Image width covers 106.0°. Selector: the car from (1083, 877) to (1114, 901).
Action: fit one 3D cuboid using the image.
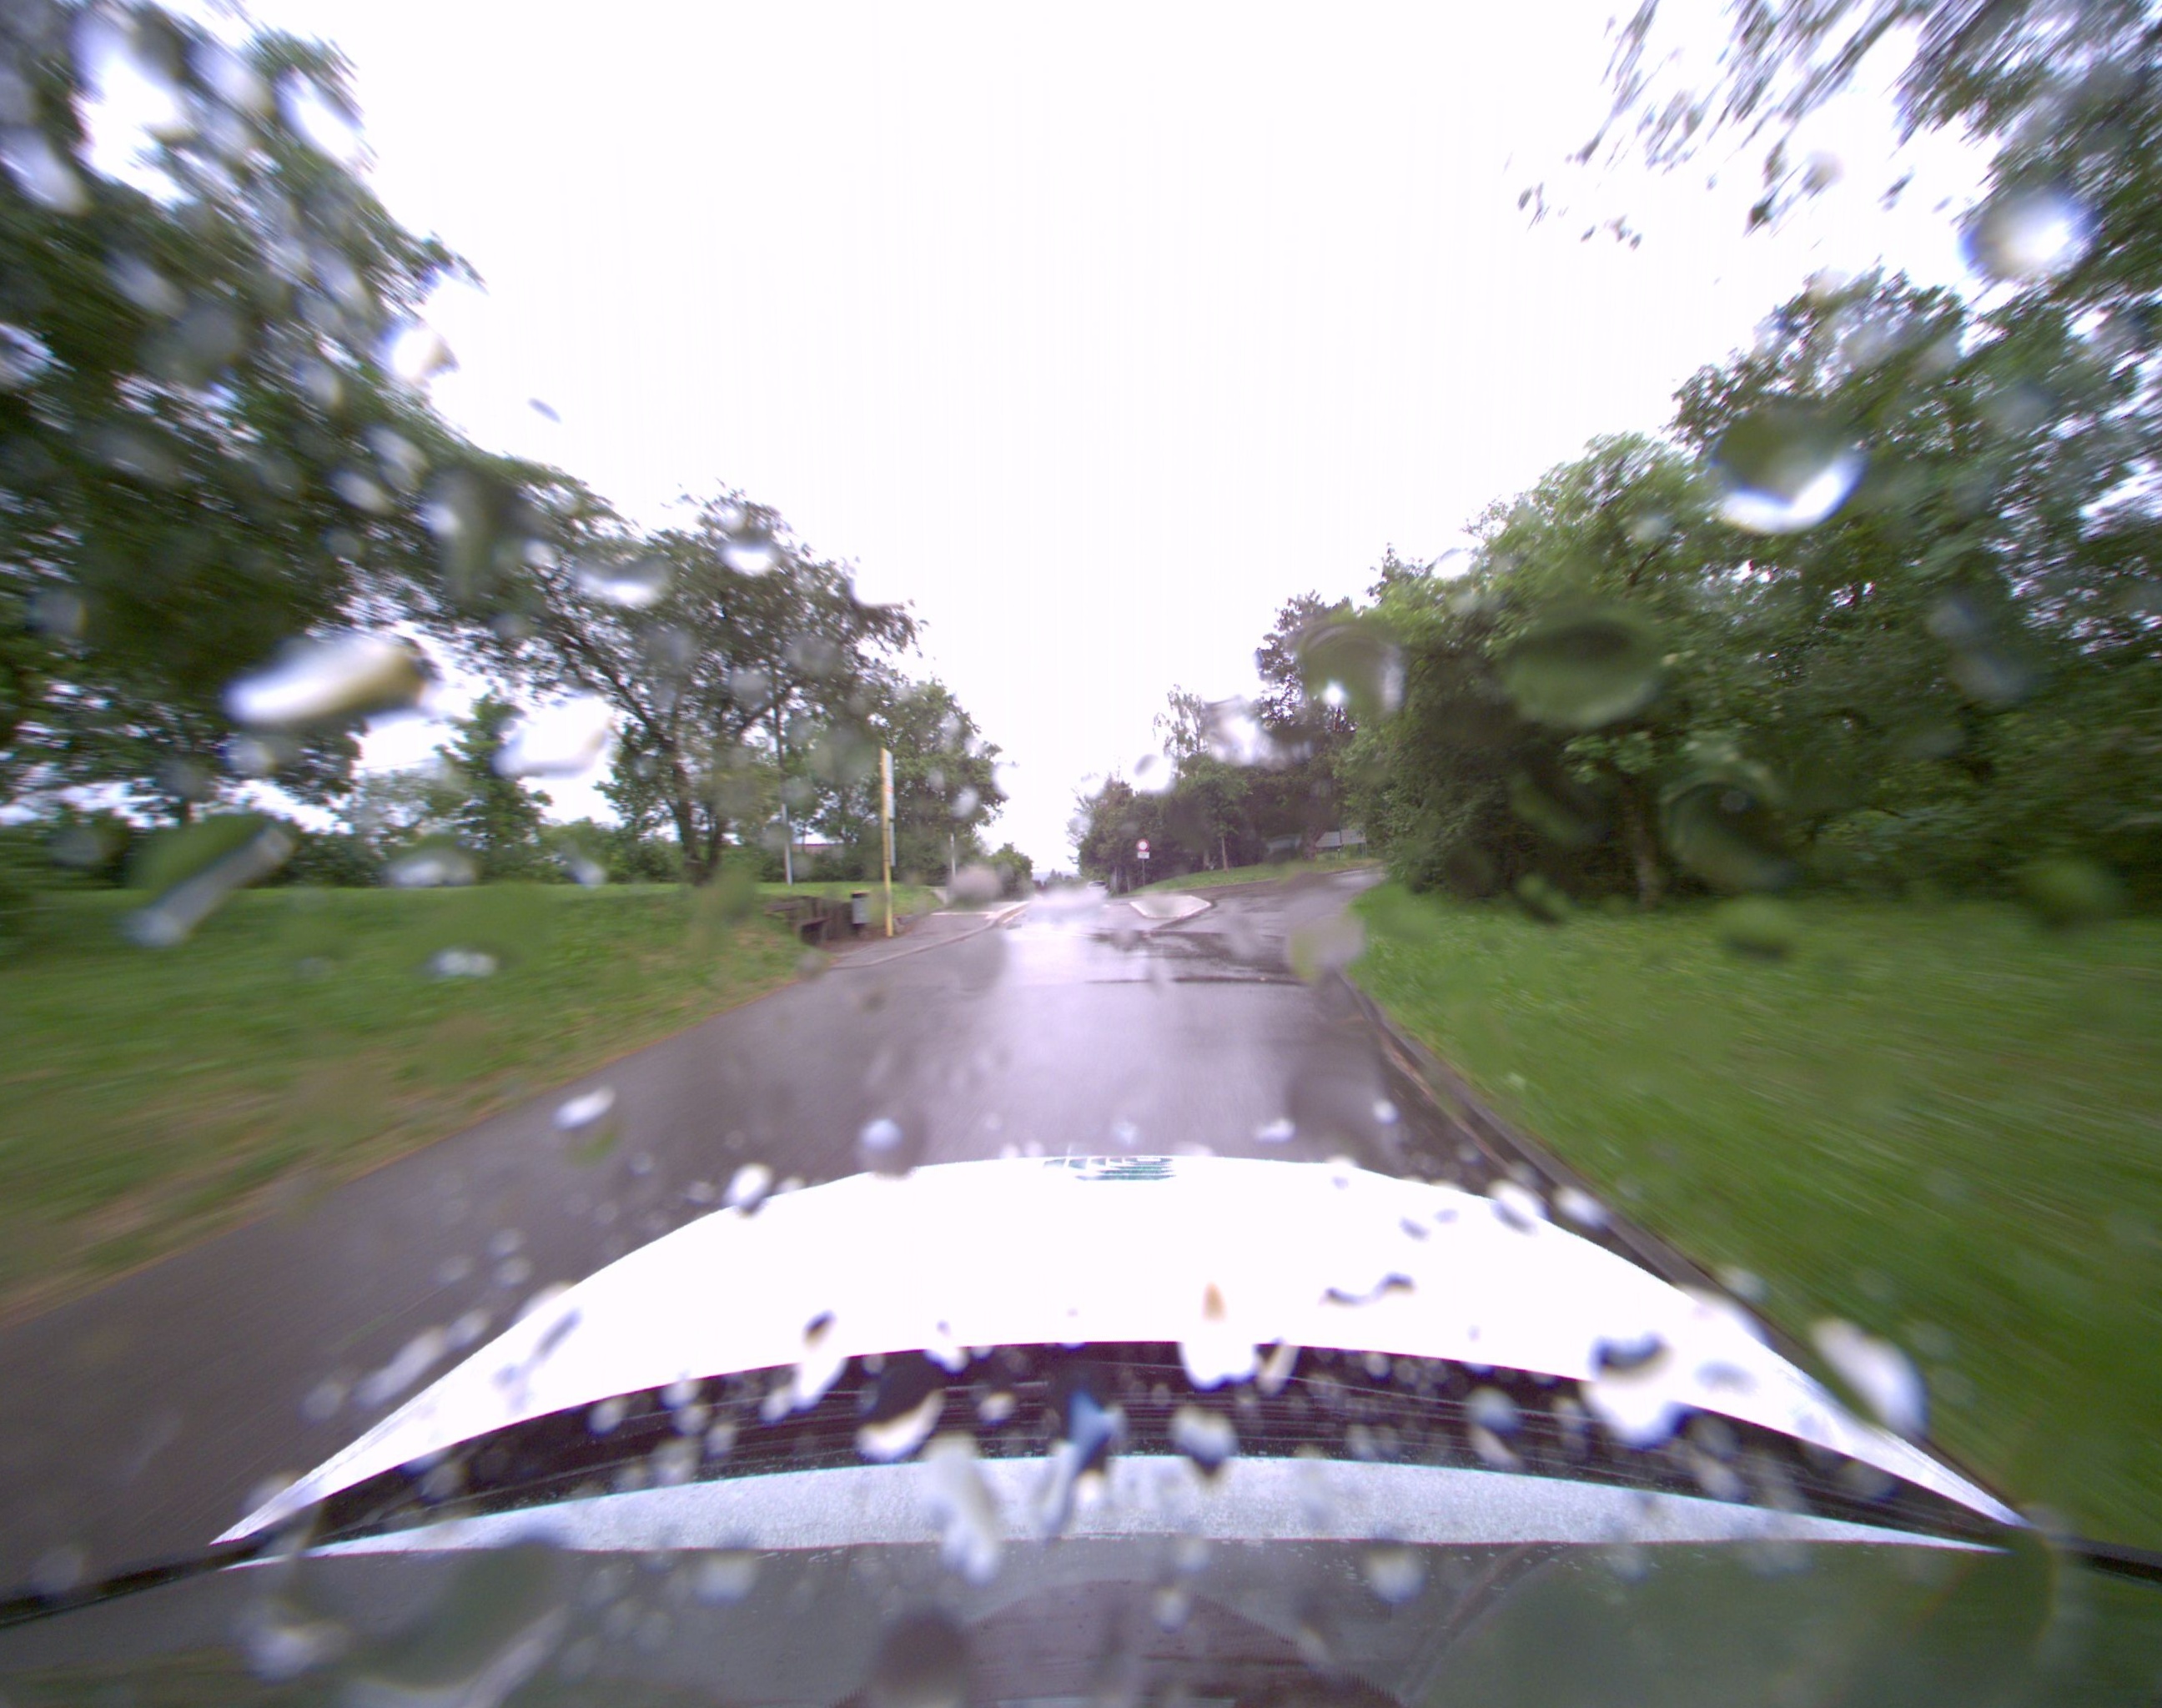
[{"bbox_3d":[1.292,2.554,58.406,1.984,1.583,4.003,-3,-4,4],"label":"car"}]
